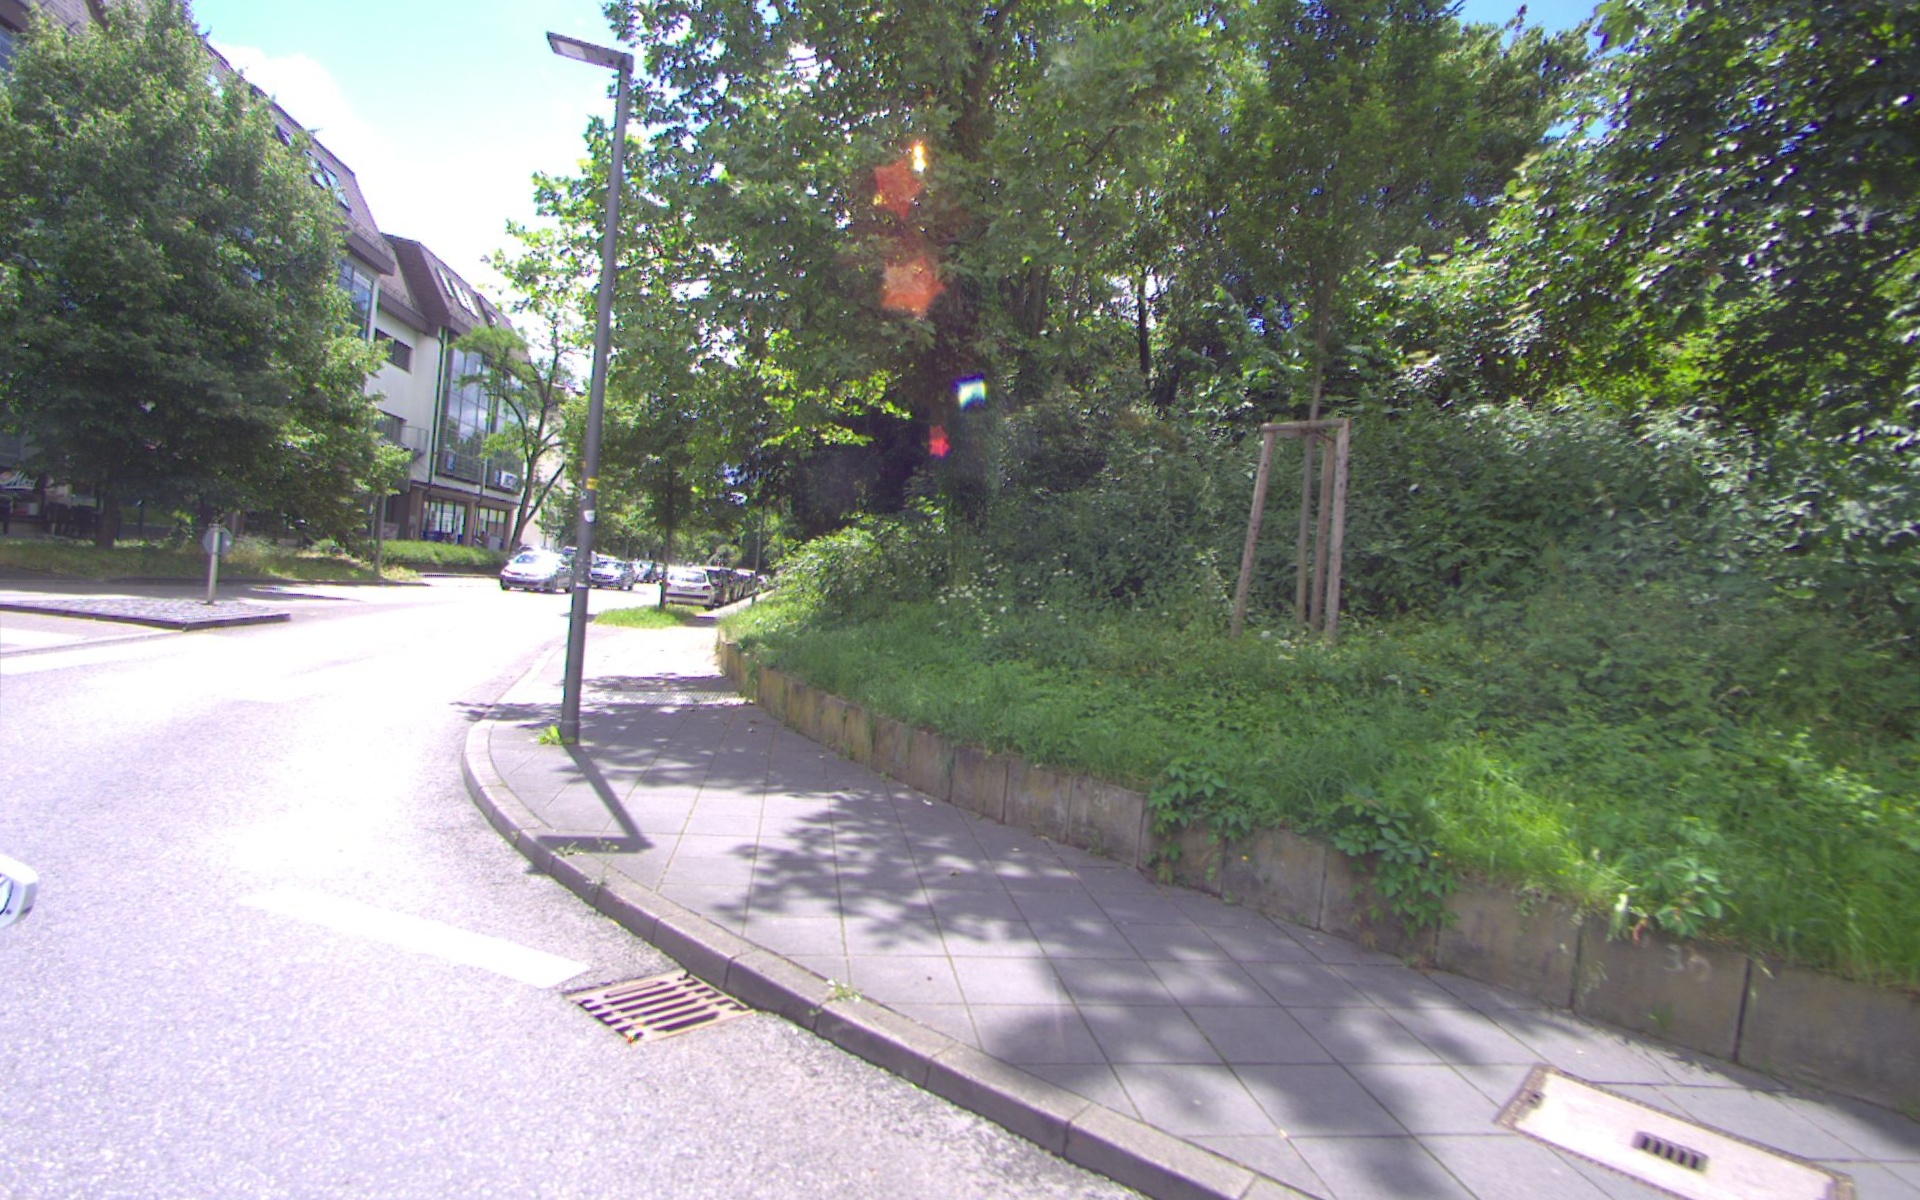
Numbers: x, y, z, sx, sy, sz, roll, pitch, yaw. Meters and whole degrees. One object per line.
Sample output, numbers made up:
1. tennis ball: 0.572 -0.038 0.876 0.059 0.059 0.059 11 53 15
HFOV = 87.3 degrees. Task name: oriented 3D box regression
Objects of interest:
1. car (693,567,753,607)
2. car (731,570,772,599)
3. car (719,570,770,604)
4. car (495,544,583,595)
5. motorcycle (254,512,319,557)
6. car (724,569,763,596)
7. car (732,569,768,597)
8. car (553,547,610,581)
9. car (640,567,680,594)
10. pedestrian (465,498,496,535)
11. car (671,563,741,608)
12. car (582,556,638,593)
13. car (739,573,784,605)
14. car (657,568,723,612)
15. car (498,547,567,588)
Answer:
1. car: -10.827 -0.580 46.168 1.900 1.504 3.996 7 0 -4
2. car: -13.168 -0.963 63.685 1.900 1.504 3.997 7 0 -4
3. car: -11.199 -0.662 52.423 1.900 1.504 3.997 7 0 -4
4. car: -15.236 -1.074 36.663 1.966 1.527 4.575 6 0 -11
5. motorcycle: -22.211 -2.126 33.222 0.843 1.308 2.182 6 1 -9
6. car: -14.695 -1.152 68.378 1.900 1.504 3.997 7 0 -4
7. car: -15.534 -1.222 74.743 1.900 1.826 3.997 7 0 -4
8. car: -21.361 -2.008 56.963 1.966 1.526 4.578 7 0 -9
9. car: -20.542 -1.320 68.970 1.967 1.526 4.576 7 0 -10
10. pedestrian: -29.835 -5.170 62.595 1.327 2.038 1.086 6 0 -13
11. car: -10.240 -0.548 40.851 1.900 1.504 3.997 7 0 -4
12. car: -17.515 -1.252 50.526 1.967 1.527 4.573 6 0 -12
13. car: -11.434 -0.623 58.168 1.900 1.504 3.997 7 0 -4
14. car: -9.434 -0.374 35.425 1.726 1.347 3.993 4 1 -9
15. car: -19.458 -1.458 45.985 1.968 1.526 4.573 7 0 -13
